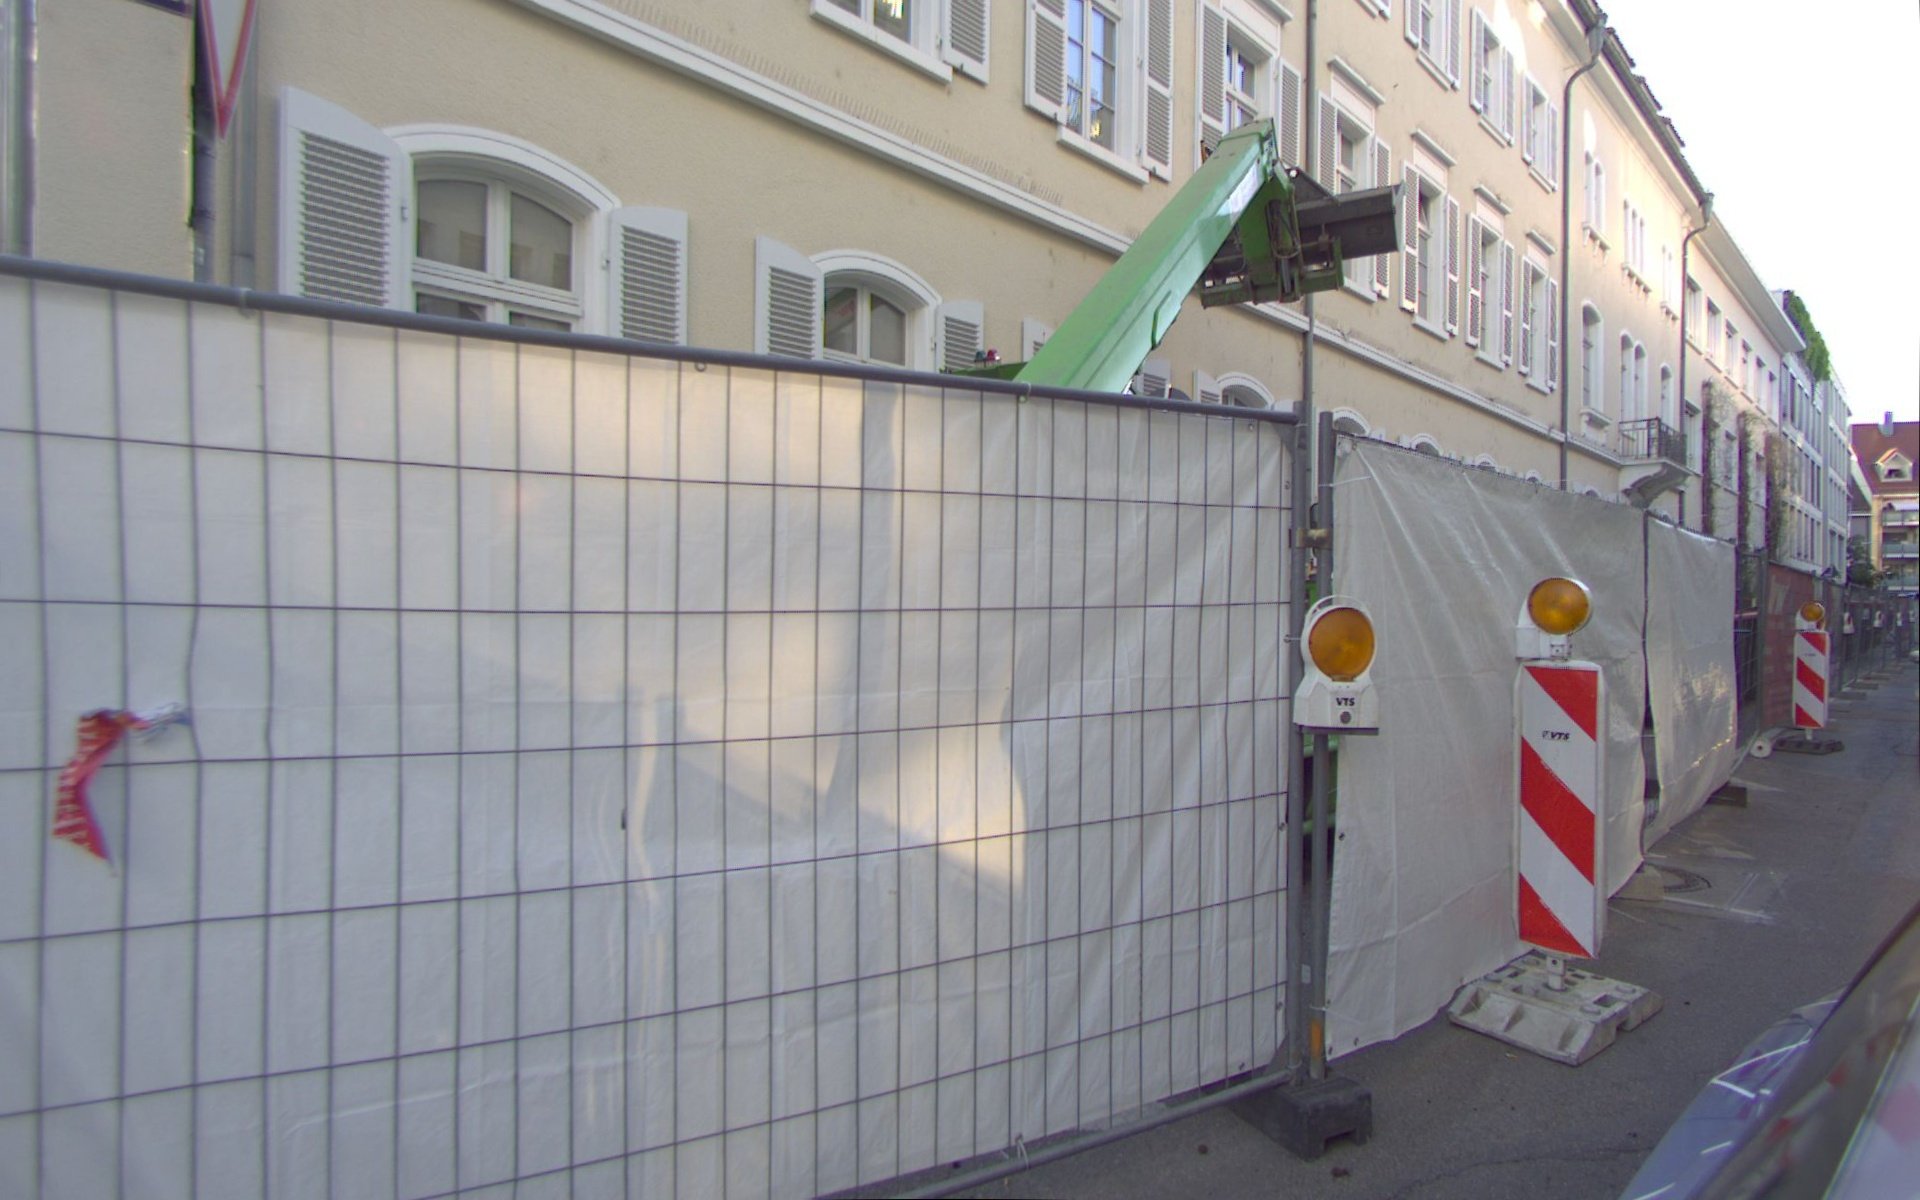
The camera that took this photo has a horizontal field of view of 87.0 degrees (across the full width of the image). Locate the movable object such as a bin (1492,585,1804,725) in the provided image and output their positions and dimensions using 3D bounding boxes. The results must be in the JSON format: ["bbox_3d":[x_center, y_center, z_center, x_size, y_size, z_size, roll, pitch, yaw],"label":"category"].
[{"bbox_3d":[10.898,0.660,15.646,2.736,1.659,7.431,0,0,44],"label":"movable object such as a bin"}]

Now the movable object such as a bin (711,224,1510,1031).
[{"bbox_3d":[1.132,0.075,6.080,4.376,2.874,2.607,1,1,-44],"label":"movable object such as a bin"}]

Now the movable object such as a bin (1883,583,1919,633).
[{"bbox_3d":[53.298,0.478,56.623,5.655,2.657,2.017,1,-3,-44],"label":"movable object such as a bin"}]
